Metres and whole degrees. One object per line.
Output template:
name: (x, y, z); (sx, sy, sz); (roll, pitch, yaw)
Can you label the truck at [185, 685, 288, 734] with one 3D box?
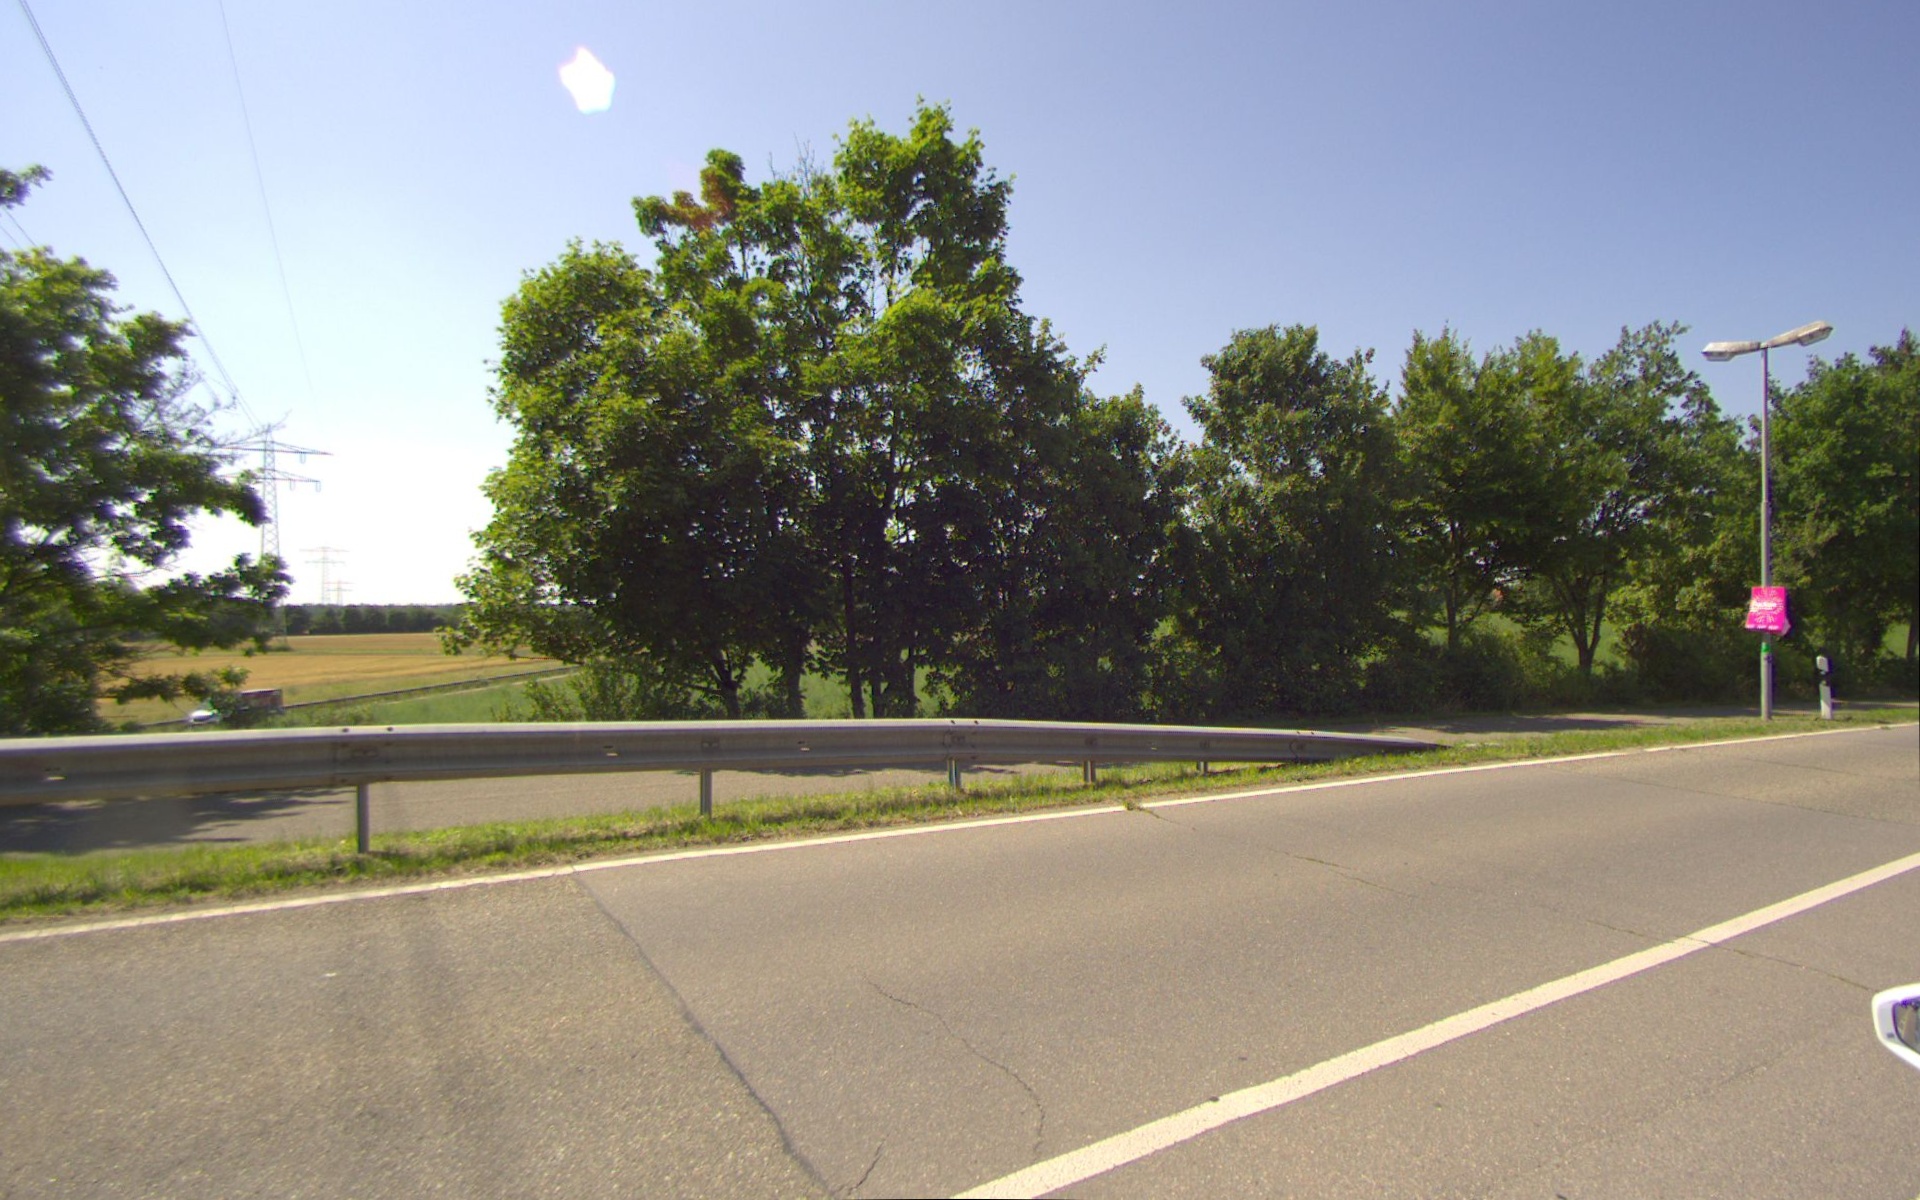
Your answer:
truck: (-49.438, 7.431, 68.883); (1.960, 2.356, 6.530); (2, 1, 4)
